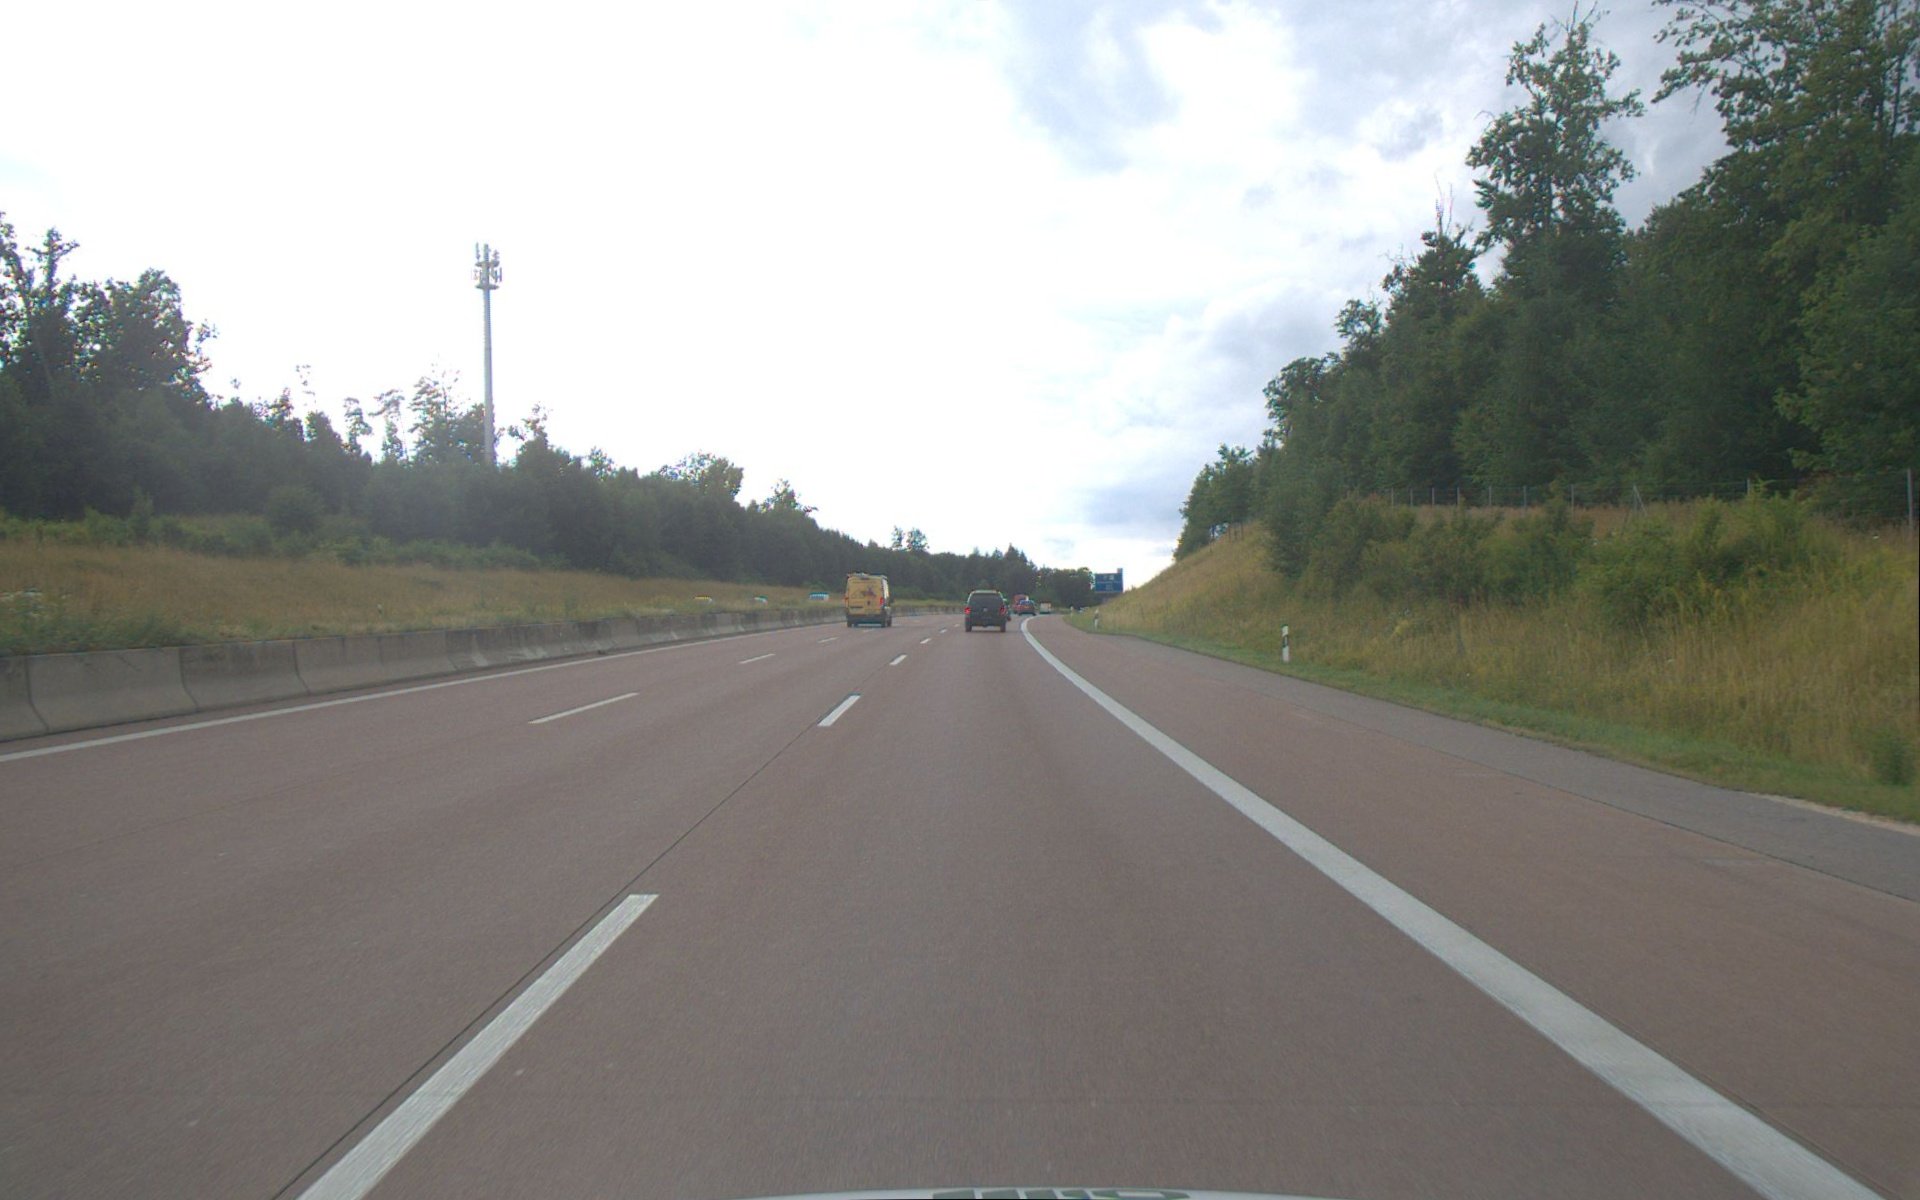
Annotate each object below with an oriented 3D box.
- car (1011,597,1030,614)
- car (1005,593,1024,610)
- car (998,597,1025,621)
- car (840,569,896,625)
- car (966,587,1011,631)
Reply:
[{"bbox_3d":[6.615,0.598,180.781,1.937,1.677,4.618,-1,-1,0],"label":"car"},{"bbox_3d":[7.919,0.247,239.307,2.193,2.472,6.209,0,0,6],"label":"car"},{"bbox_3d":[3.753,0.640,120.193,1.936,1.677,4.620,0,-1,2],"label":"car"},{"bbox_3d":[-4.804,-0.106,86.807,2.407,2.754,5.614,-1,-1,2],"label":"car"},{"bbox_3d":[1.318,0.449,76.412,2.002,1.930,5.577,-1,-1,1],"label":"car"}]
